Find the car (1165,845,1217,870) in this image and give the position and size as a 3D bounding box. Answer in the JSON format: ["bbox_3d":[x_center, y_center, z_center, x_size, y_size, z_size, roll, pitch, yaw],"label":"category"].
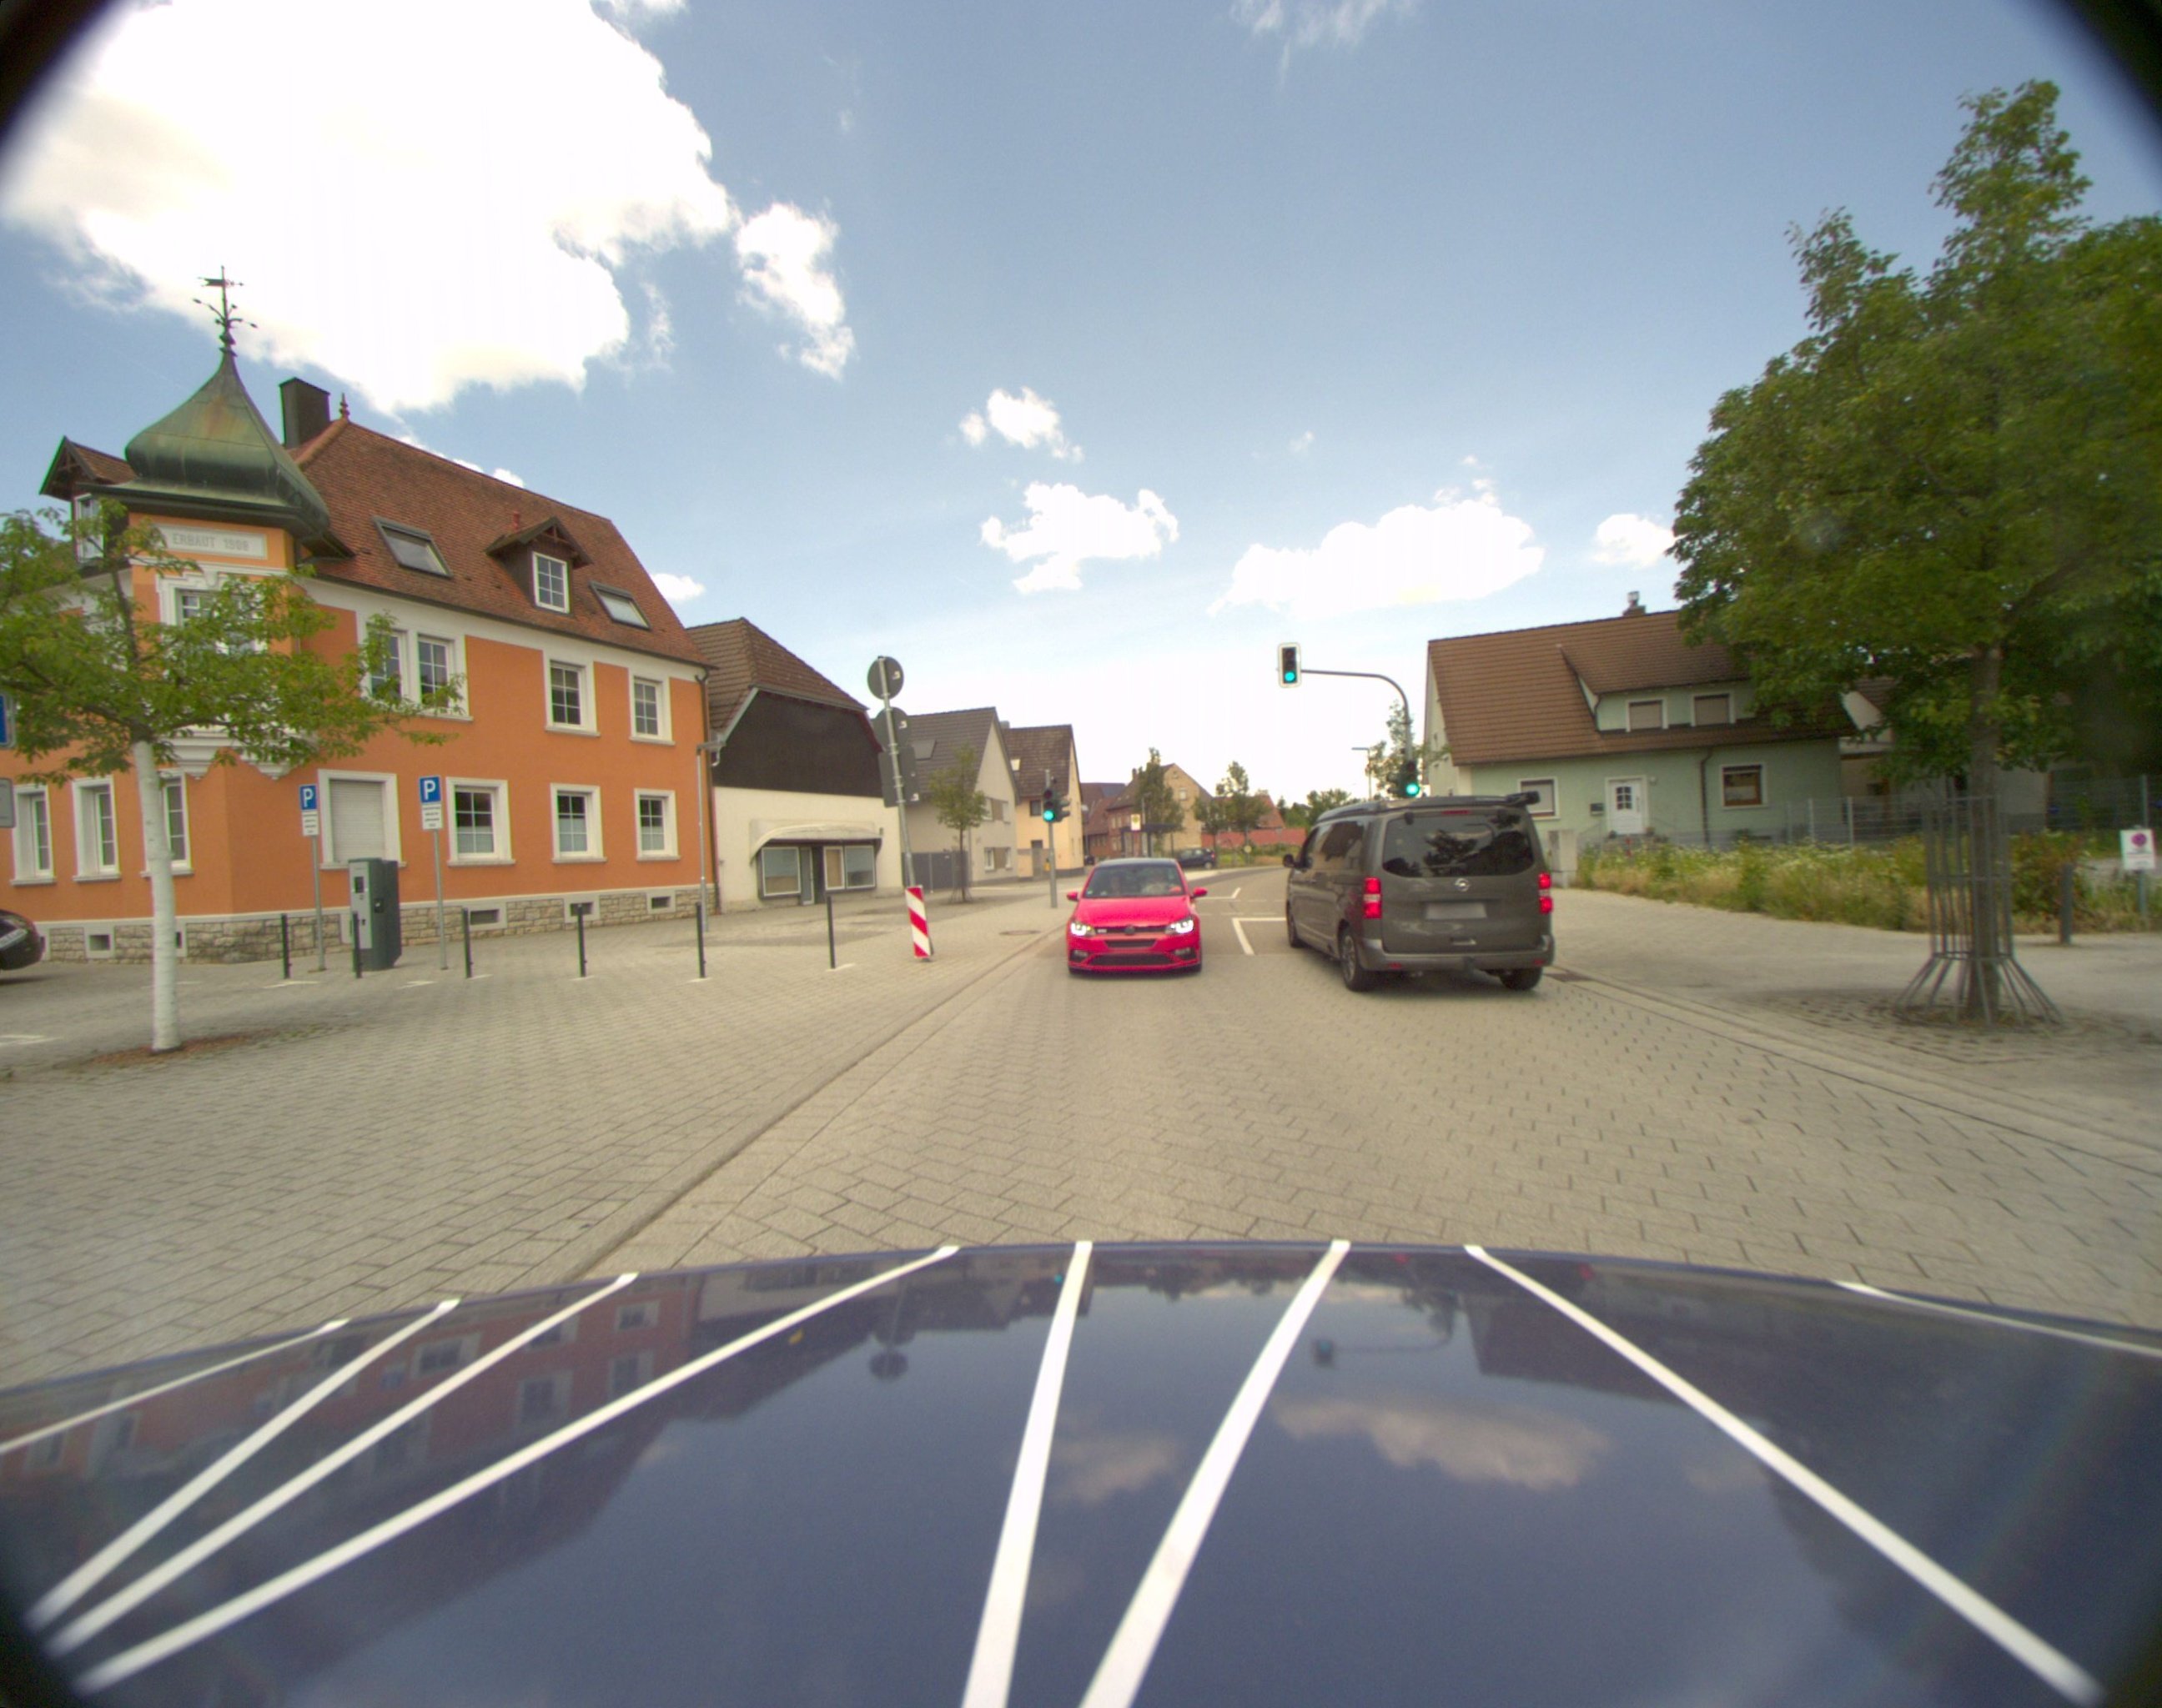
[{"bbox_3d":[8.050,0.231,55.463,3.544,1.583,1.668,-3,0,11],"label":"car"}]

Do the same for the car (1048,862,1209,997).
[{"bbox_3d":[0.575,0.879,10.589,1.782,1.403,3.887,-2,1,1],"label":"car"}]

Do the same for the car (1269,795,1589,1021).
[{"bbox_3d":[3.758,0.505,9.318,1.998,2.002,4.741,-2,0,4],"label":"car"}]

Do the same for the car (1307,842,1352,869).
[{"bbox_3d":[14.293,0.062,43.536,1.885,1.426,4.603,-1,0,24],"label":"car"}]

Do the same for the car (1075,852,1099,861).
[{"bbox_3d":[0.752,0.321,101.270,1.805,1.053,3.993,-3,0,-22],"label":"car"}]

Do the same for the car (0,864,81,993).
[{"bbox_3d":[-18.383,1.246,10.252,1.997,2.002,5.500,-3,0,13],"label":"car"}]
